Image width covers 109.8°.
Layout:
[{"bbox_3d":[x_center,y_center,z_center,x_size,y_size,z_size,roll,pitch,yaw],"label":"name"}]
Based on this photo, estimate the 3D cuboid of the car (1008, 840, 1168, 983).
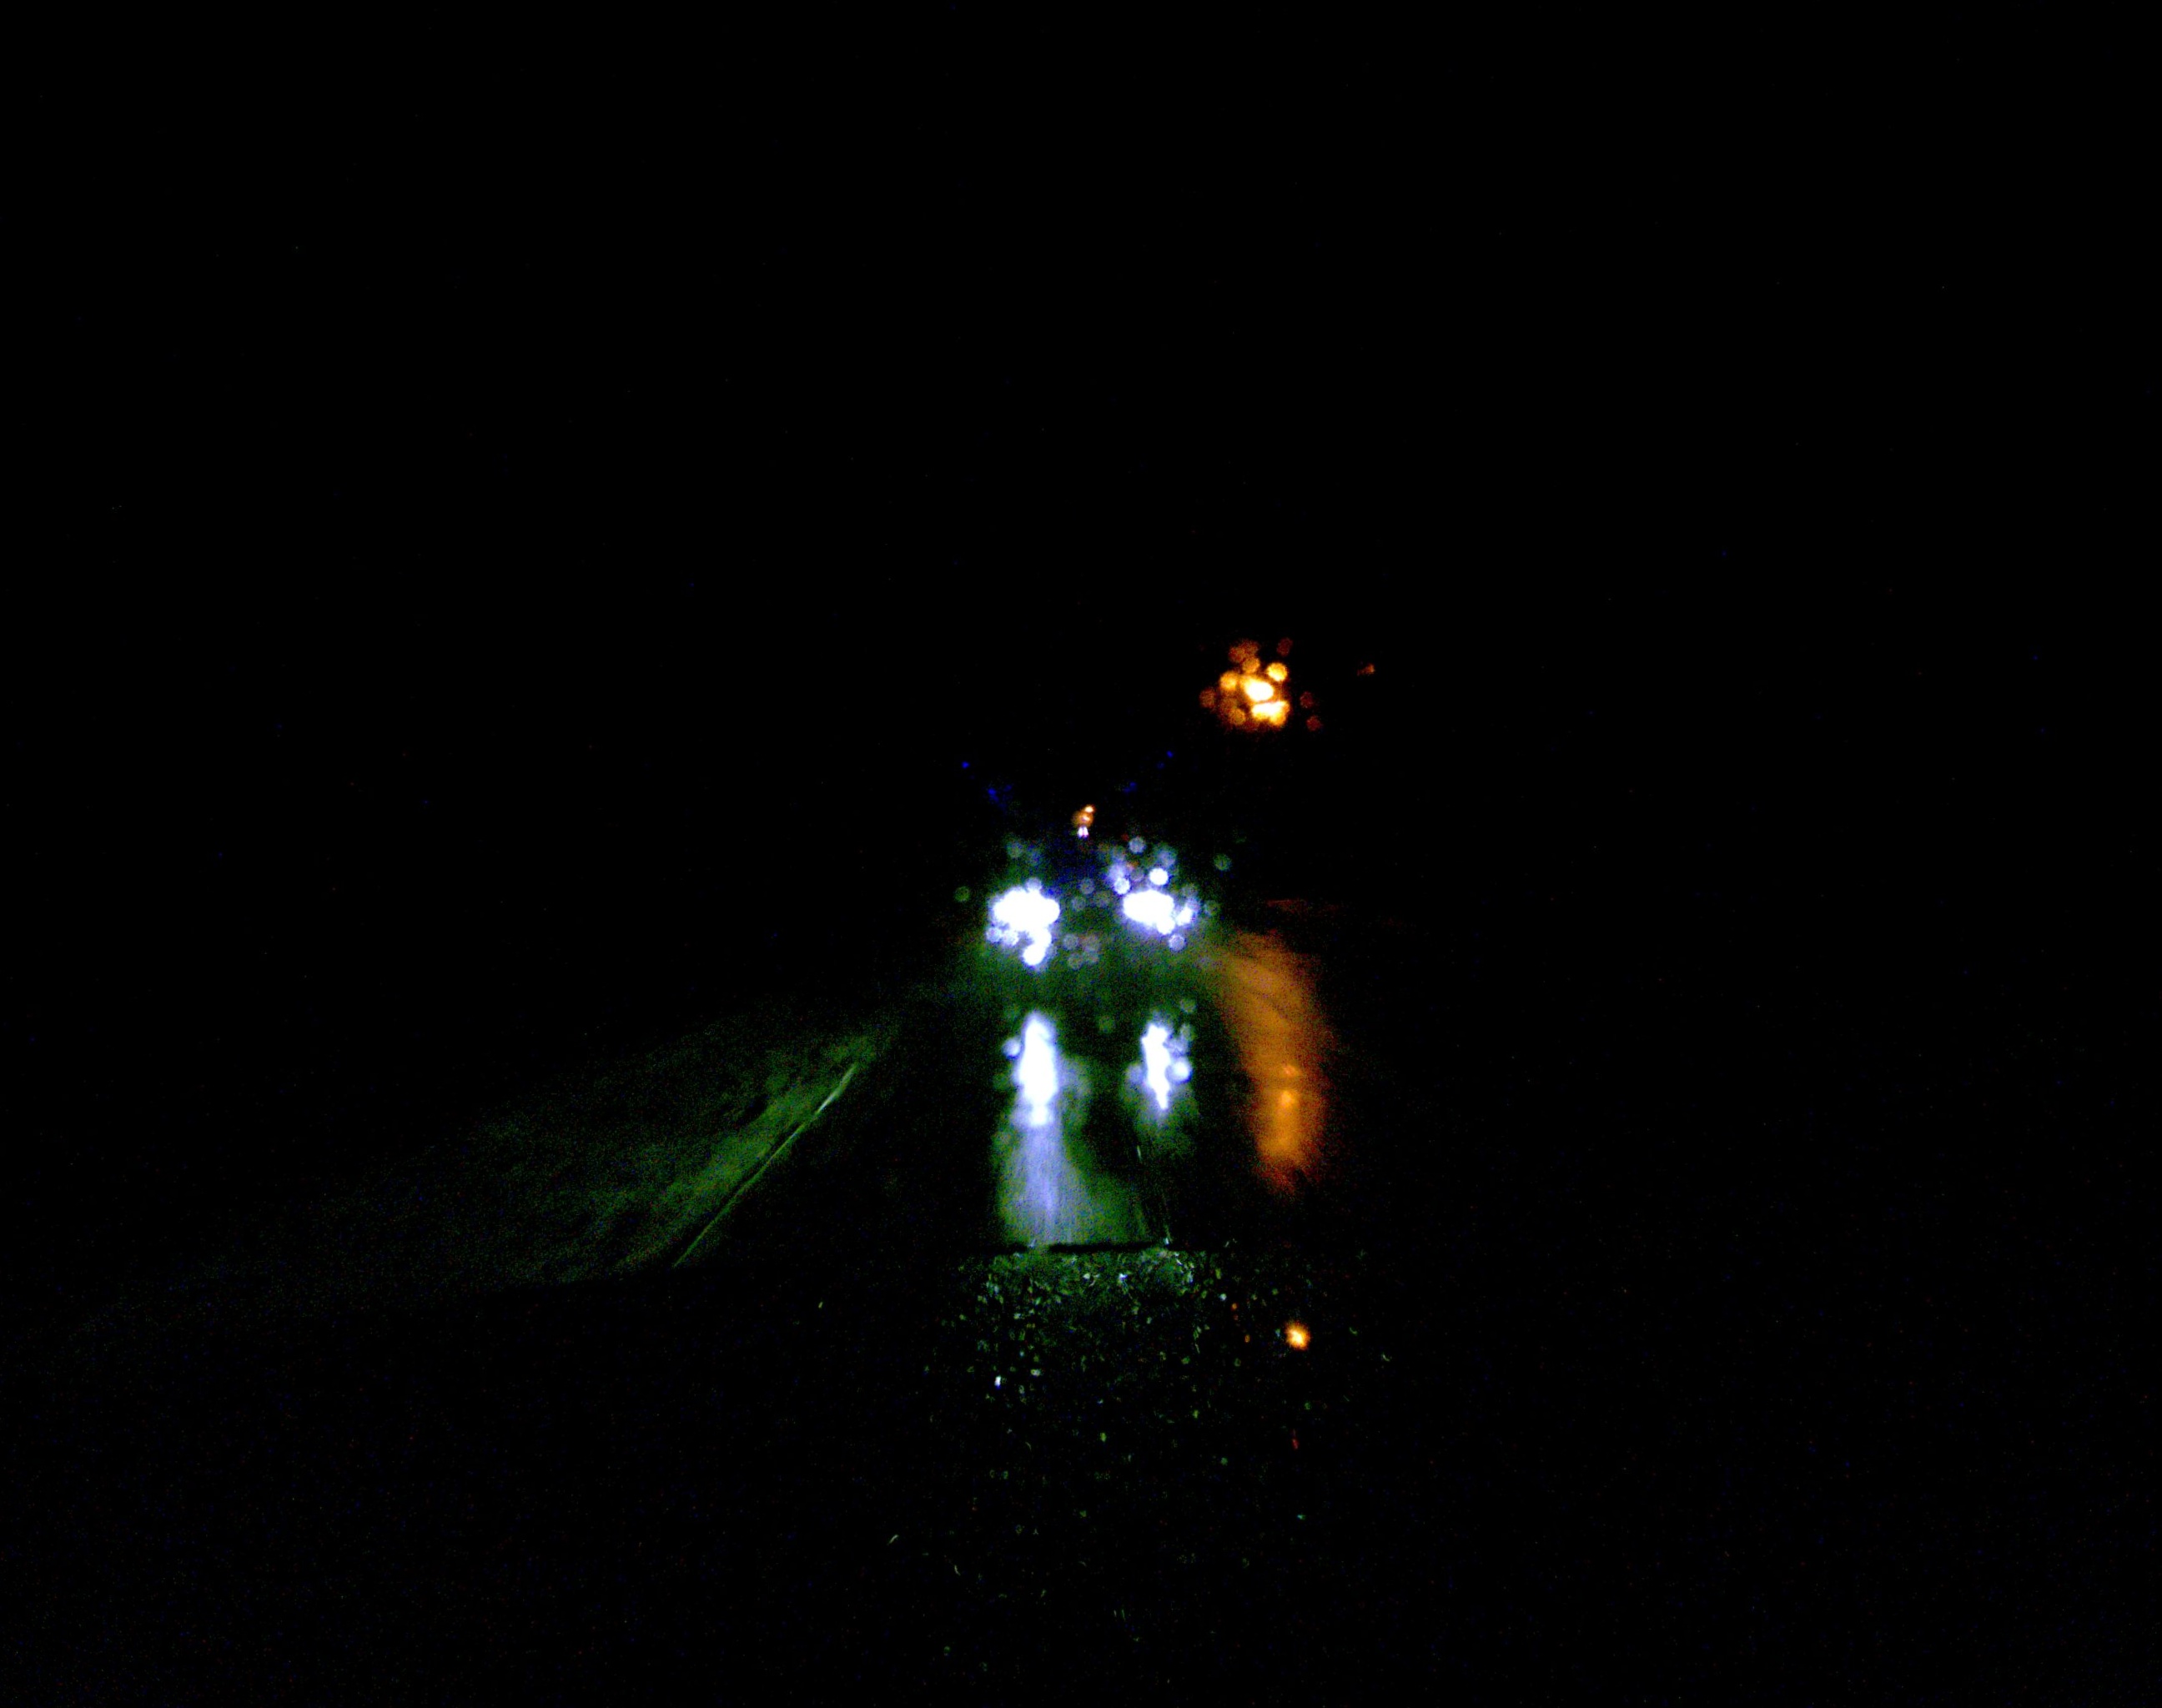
[{"bbox_3d":[0.053,0.681,11.507,1.893,1.678,4.338,-2,1,-1],"label":"car"}]
